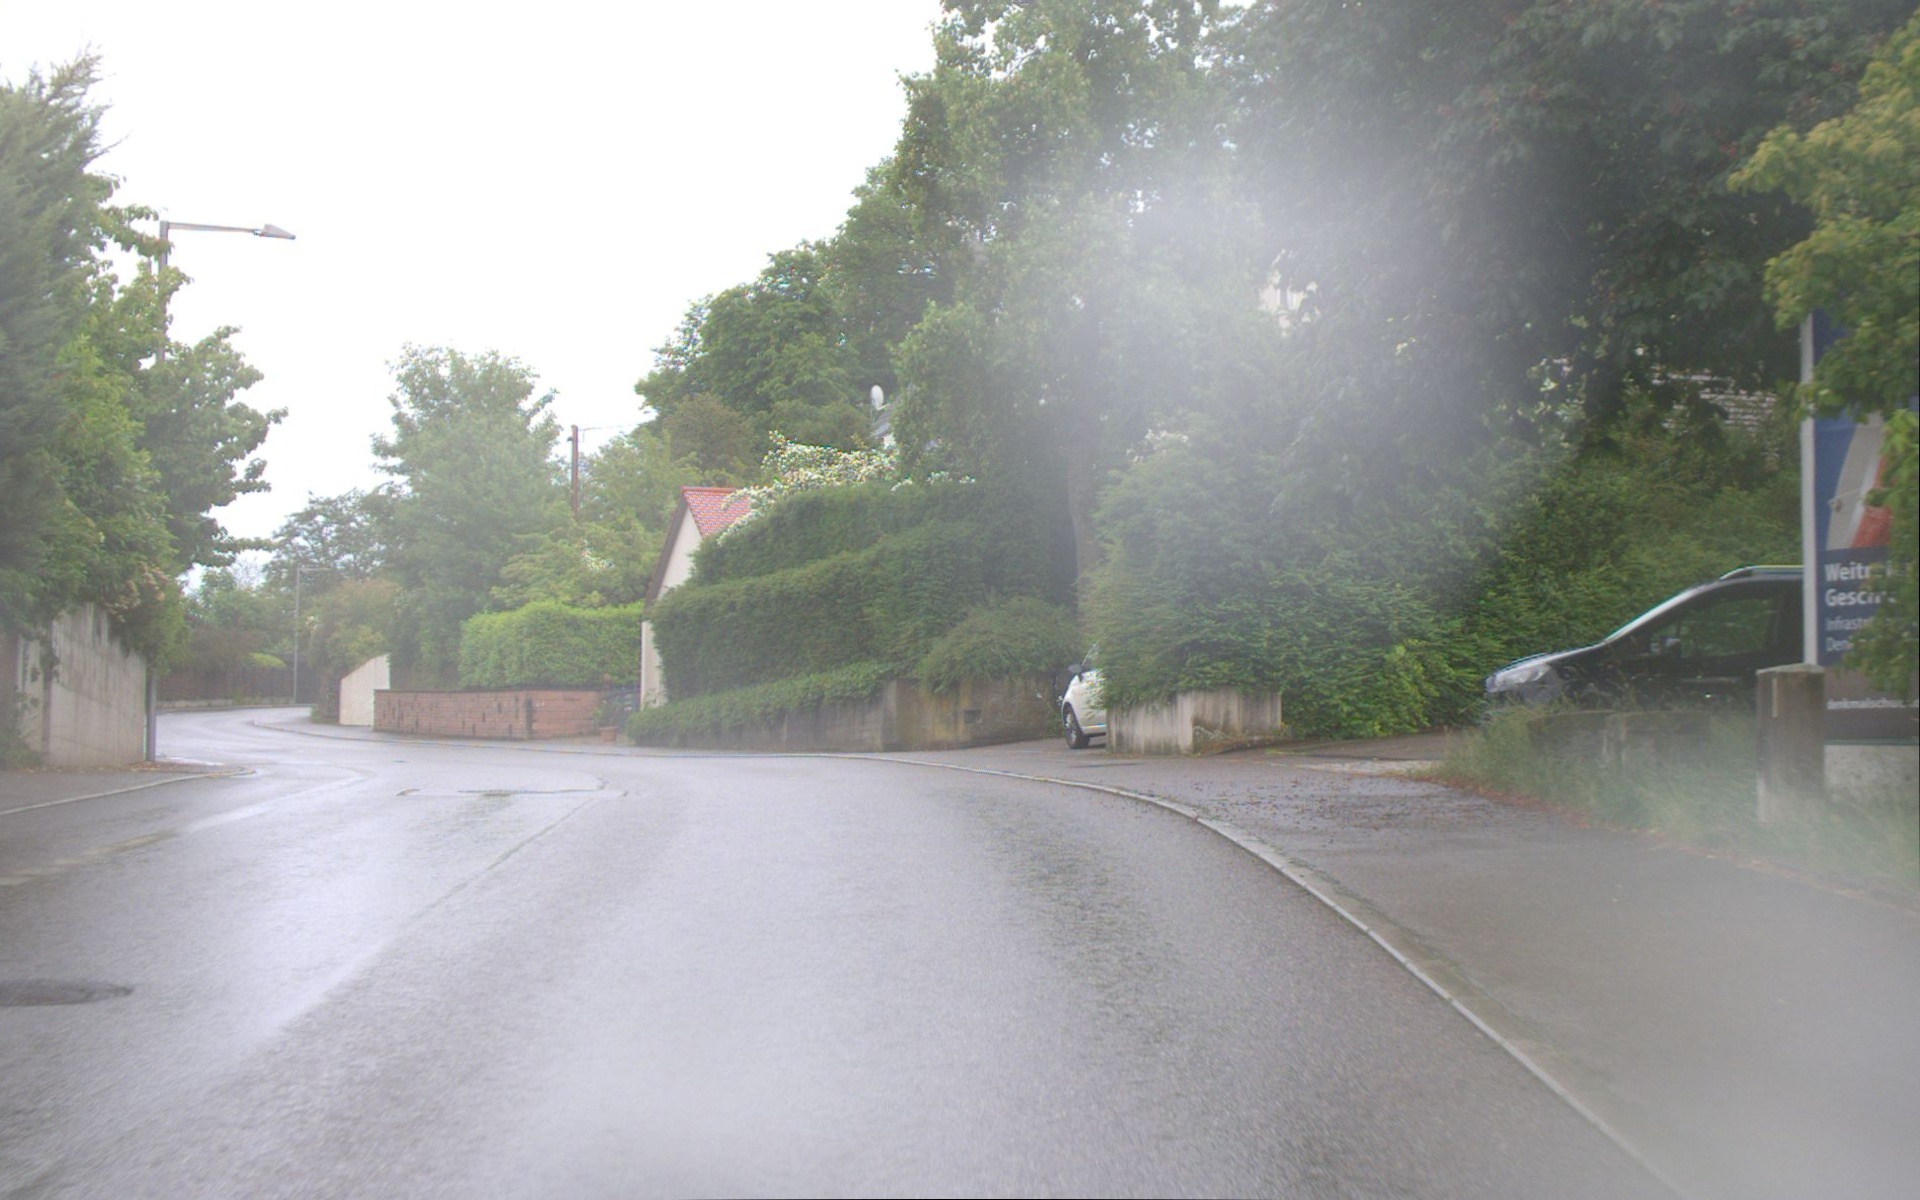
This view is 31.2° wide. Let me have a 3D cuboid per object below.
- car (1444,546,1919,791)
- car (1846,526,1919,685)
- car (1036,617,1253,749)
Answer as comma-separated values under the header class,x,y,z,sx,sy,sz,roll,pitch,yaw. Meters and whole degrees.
class,x,y,z,sx,sy,sz,roll,pitch,yaw
car,6.084,0.567,27.092,4.333,1.710,1.727,3,-2,11
car,11.834,0.024,36.940,4.263,1.628,1.729,-1,-2,-24
car,2.335,1.065,44.544,1.531,1.530,3.846,-4,0,-16
